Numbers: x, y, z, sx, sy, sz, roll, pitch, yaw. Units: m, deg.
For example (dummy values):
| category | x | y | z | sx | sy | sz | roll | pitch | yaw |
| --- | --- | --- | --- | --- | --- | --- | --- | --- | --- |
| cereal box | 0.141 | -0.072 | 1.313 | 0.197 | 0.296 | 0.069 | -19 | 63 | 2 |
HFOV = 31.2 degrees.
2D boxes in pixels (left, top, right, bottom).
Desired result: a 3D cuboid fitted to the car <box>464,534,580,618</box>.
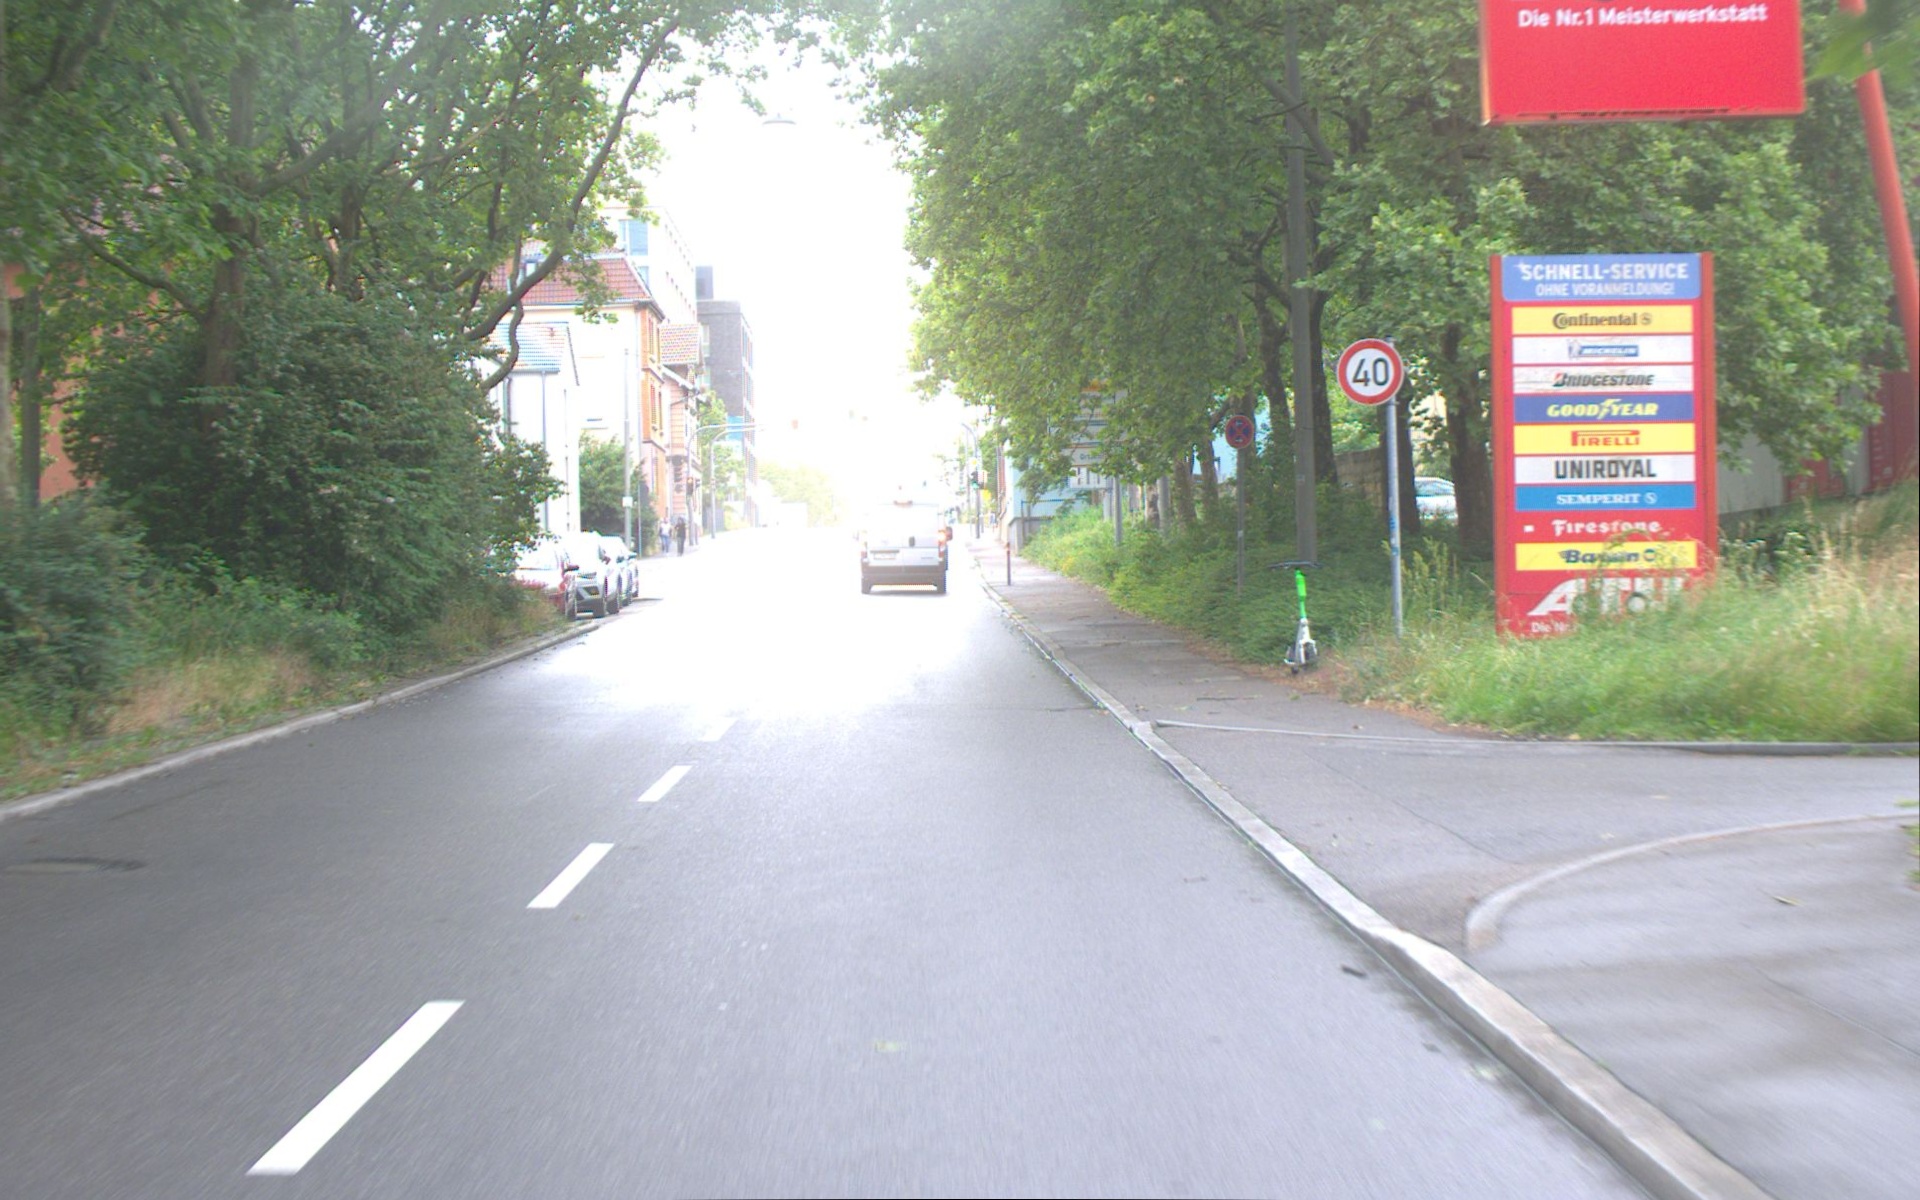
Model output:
| category | x | y | z | sx | sy | sz | roll | pitch | yaw |
| --- | --- | --- | --- | --- | --- | --- | --- | --- | --- |
| car | -7.401 | -0.427 | 58.387 | 1.638 | 1.369 | 3.760 | 0 | 1 | -3 |

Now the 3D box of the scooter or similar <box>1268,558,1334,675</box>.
| category | x | y | z | sx | sy | sz | roll | pitch | yaw |
| --- | --- | --- | --- | --- | --- | --- | --- | --- | --- |
| scooter or similar | 3.415 | 0.172 | 34.515 | 0.425 | 1.138 | 1.529 | 1 | -1 | -3 |

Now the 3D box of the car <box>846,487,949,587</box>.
| category | x | y | z | sx | sy | sz | roll | pitch | yaw |
| --- | --- | --- | --- | --- | --- | --- | --- | --- | --- |
| car | -1.456 | -1.476 | 82.248 | 2.336 | 2.223 | 4.000 | -2 | 0 | 0 |

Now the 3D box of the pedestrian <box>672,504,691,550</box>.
| category | x | y | z | sx | sy | sz | roll | pitch | yaw |
| --- | --- | --- | --- | --- | --- | --- | --- | --- | --- |
| pedestrian | -12.298 | -3.217 | 151.831 | 0.671 | 2.007 | 0.941 | -1 | 1 | 4 |

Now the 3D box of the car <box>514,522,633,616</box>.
| category | x | y | z | sx | sy | sz | roll | pitch | yaw |
| --- | --- | --- | --- | --- | --- | --- | --- | --- | --- |
| car | -7.143 | -0.608 | 63.816 | 1.691 | 1.536 | 4.118 | -4 | 2 | 0 |

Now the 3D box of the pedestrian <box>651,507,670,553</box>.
| category | x | y | z | sx | sy | sz | roll | pitch | yaw |
| --- | --- | --- | --- | --- | --- | --- | --- | --- | --- |
| pedestrian | -13.236 | -3.097 | 151.857 | 0.671 | 2.007 | 0.941 | -1 | 1 | 3 |
